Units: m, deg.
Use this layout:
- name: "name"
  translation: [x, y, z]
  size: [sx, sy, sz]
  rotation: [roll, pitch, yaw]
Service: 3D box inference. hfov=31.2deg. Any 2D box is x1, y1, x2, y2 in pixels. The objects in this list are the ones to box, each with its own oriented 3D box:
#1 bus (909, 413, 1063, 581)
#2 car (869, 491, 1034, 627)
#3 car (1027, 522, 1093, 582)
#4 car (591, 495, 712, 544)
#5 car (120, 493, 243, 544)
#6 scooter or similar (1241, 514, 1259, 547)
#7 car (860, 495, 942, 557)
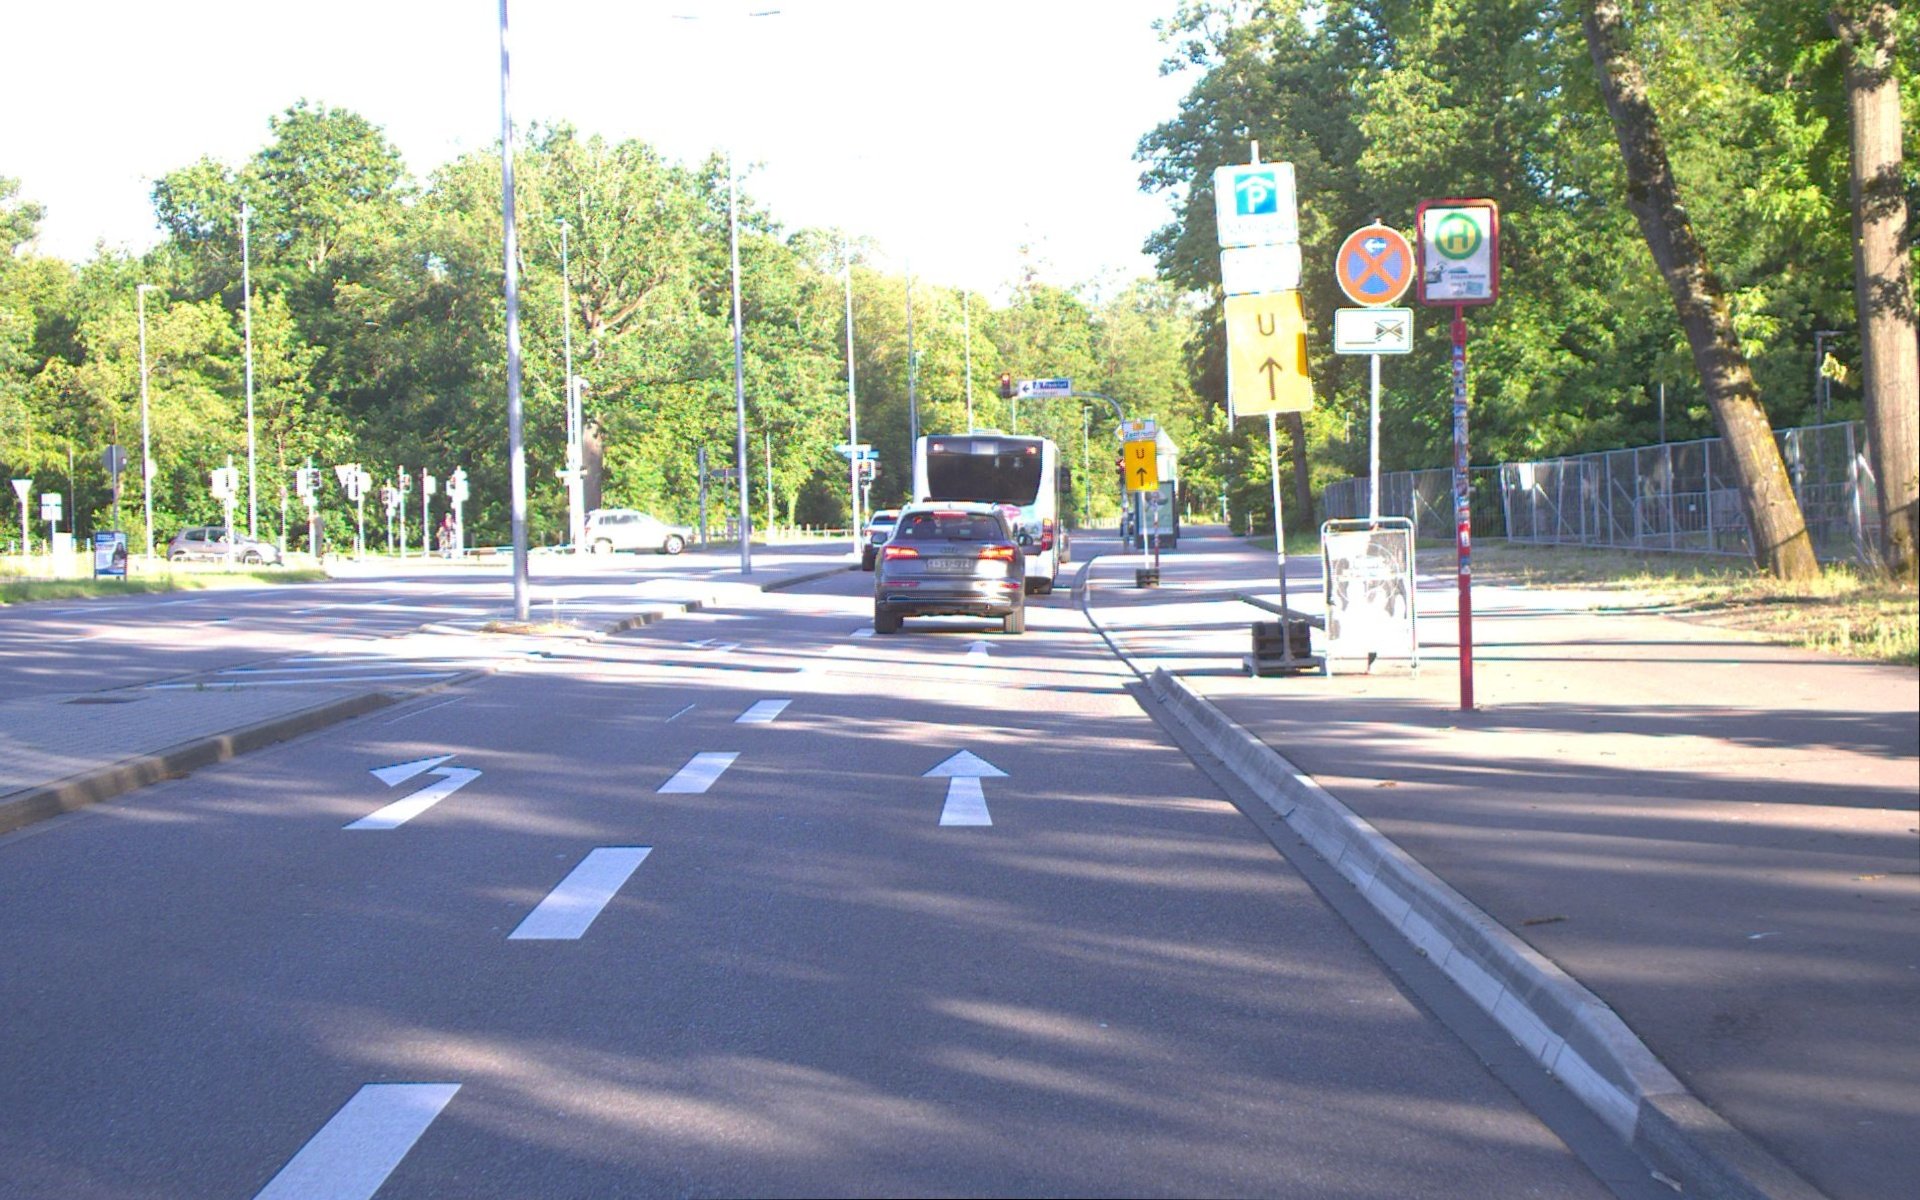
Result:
- name: "bus"
  translation: [0.597, -1.921, 65.872]
  size: [2.595, 2.978, 9.326]
  rotation: [0, 1, 3]
- name: "car"
  translation: [-0.067, -0.551, 43.789]
  size: [1.899, 1.626, 4.000]
  rotation: [1, 2, 3]
- name: "car"
  translation: [3.002, -1.436, 102.432]
  size: [1.910, 1.722, 4.579]
  rotation: [0, 1, 2]
- name: "car"
  translation: [-11.051, -2.878, 123.020]
  size: [4.217, 1.579, 2.105]
  rotation: [-2, 1, -7]
- name: "car"
  translation: [-27.545, -2.878, 121.748]
  size: [3.986, 1.634, 2.066]
  rotation: [-2, 1, -6]
- name: "scooter or similar"
  translation: [12.956, -3.117, 153.588]
  size: [0.508, 1.439, 2.023]
  rotation: [-2, 1, -2]
- name: "car"
  translation: [-1.482, -1.894, 87.747]
  size: [1.836, 1.513, 4.000]
  rotation: [-1, 1, 3]
